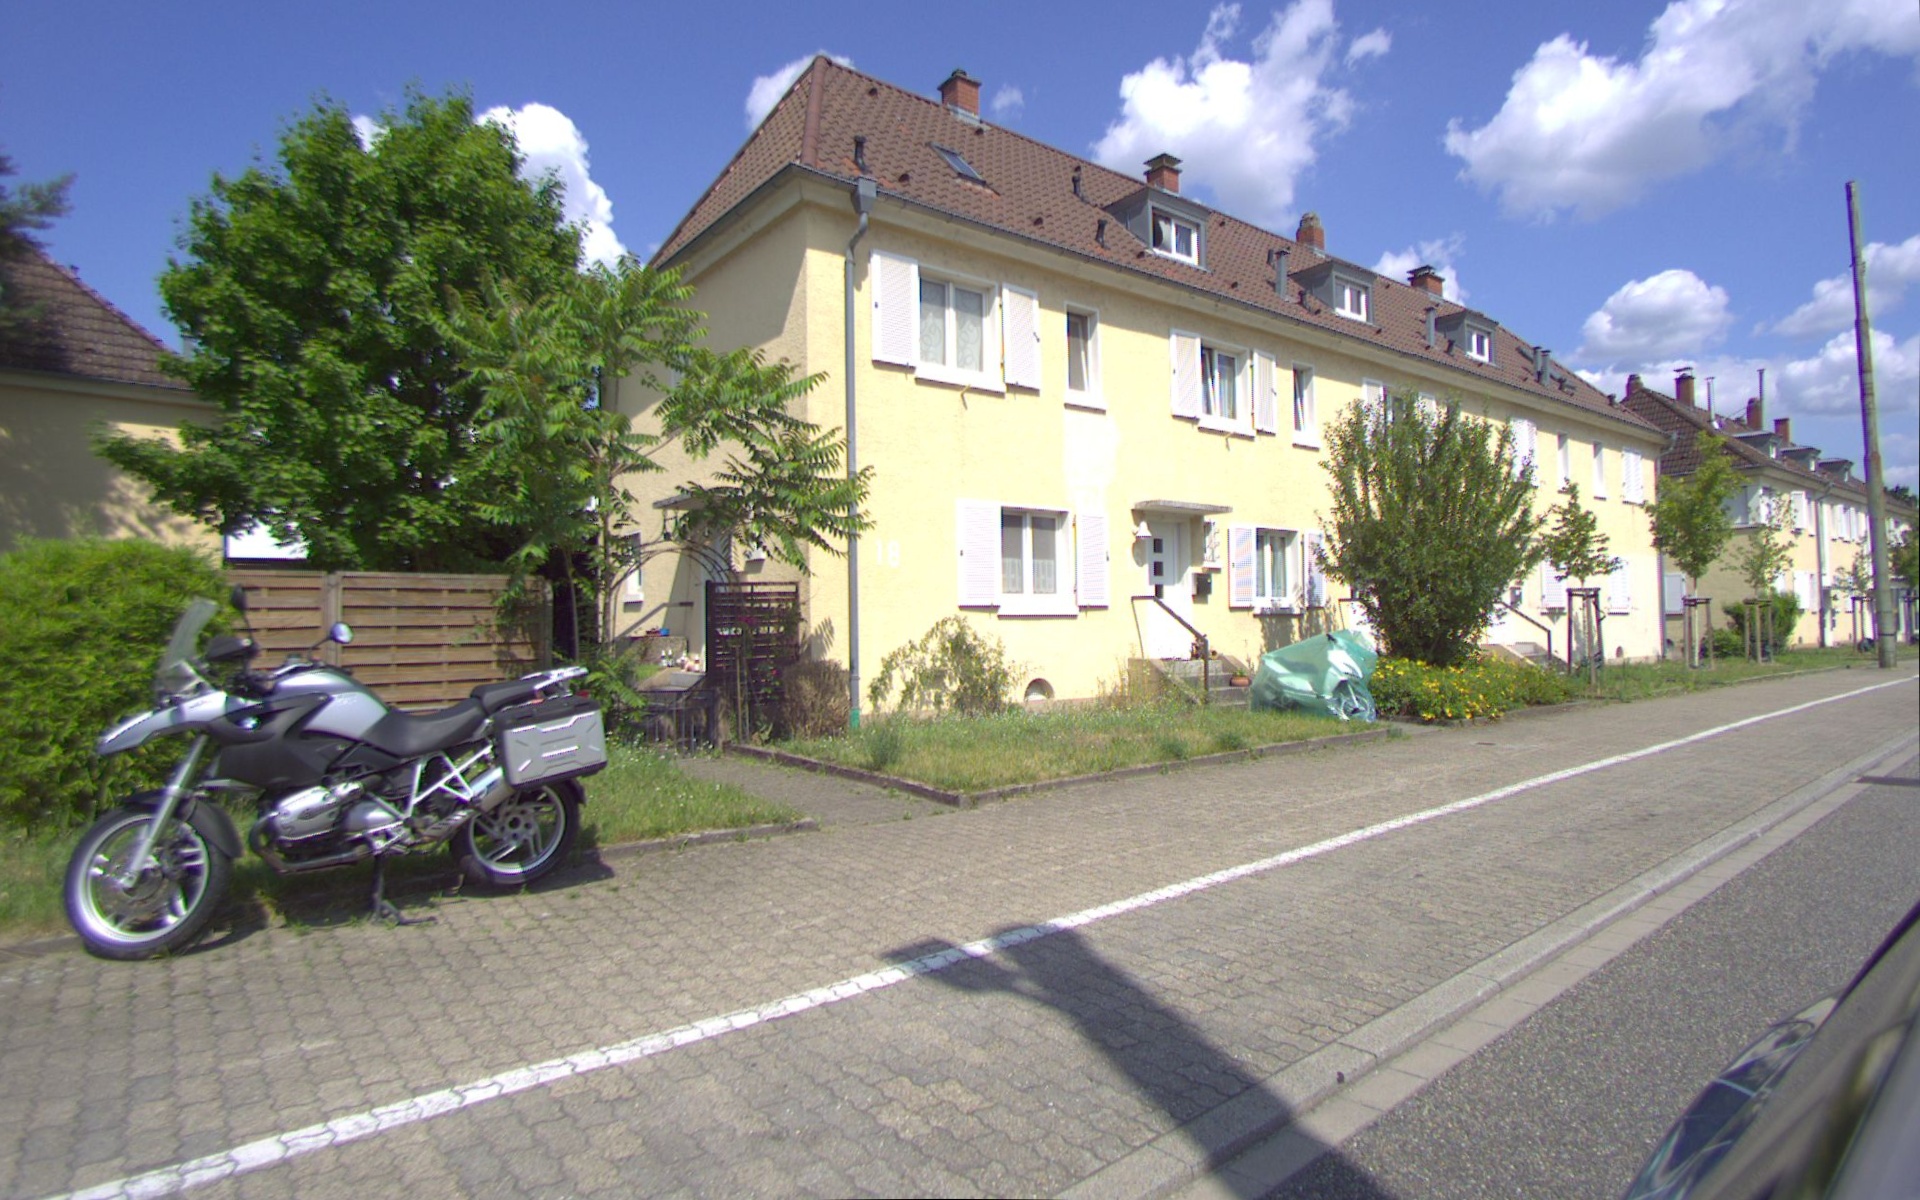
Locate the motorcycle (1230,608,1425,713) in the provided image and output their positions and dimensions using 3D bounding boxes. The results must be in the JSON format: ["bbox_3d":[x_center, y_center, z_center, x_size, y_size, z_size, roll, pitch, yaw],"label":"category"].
[{"bbox_3d":[4.633,0.740,12.939,0.838,1.213,2.233,0,-2,-36],"label":"motorcycle"}]

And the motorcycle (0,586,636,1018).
[{"bbox_3d":[-2.893,0.692,4.531,2.539,1.489,1.049,0,1,-40],"label":"motorcycle"}]
